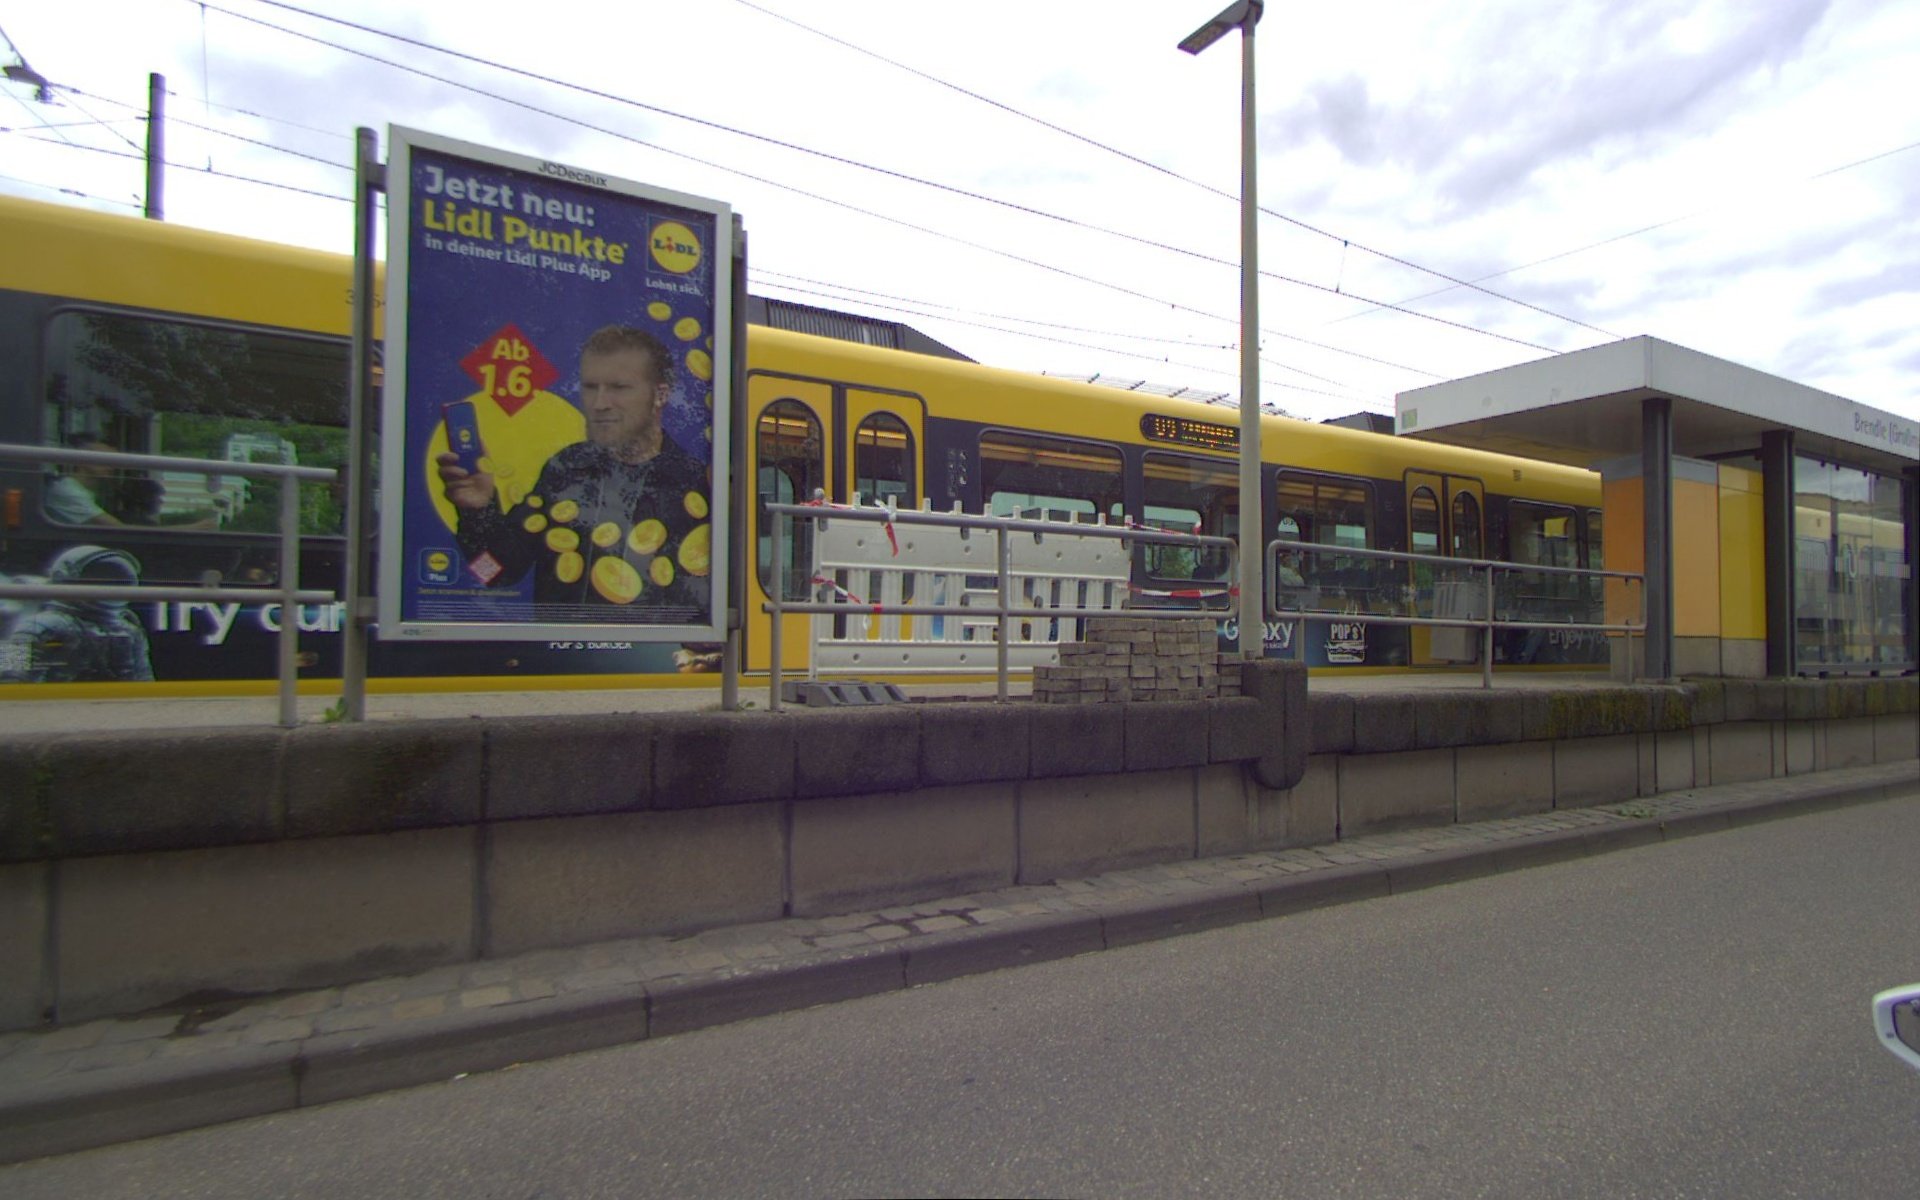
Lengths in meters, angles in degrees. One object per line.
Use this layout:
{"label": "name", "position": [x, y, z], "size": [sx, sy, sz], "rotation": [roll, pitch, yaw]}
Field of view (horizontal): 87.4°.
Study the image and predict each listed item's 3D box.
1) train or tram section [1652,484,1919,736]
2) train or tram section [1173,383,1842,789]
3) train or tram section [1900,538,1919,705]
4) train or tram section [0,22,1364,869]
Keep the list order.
{"label": "train or tram section", "position": [18.433, 0.290, 20.277], "size": [11.775, 4.018, 2.727], "rotation": [1, -2, -31]}
{"label": "train or tram section", "position": [8.336, -0.010, 14.181], "size": [11.775, 4.018, 2.727], "rotation": [1, -2, -31]}
{"label": "train or tram section", "position": [28.543, 0.565, 26.376], "size": [10.079, 4.118, 2.957], "rotation": [1, -2, -31]}
{"label": "train or tram section", "position": [-1.742, -0.636, 8.057], "size": [11.775, 4.018, 2.727], "rotation": [1, -2, -31]}
